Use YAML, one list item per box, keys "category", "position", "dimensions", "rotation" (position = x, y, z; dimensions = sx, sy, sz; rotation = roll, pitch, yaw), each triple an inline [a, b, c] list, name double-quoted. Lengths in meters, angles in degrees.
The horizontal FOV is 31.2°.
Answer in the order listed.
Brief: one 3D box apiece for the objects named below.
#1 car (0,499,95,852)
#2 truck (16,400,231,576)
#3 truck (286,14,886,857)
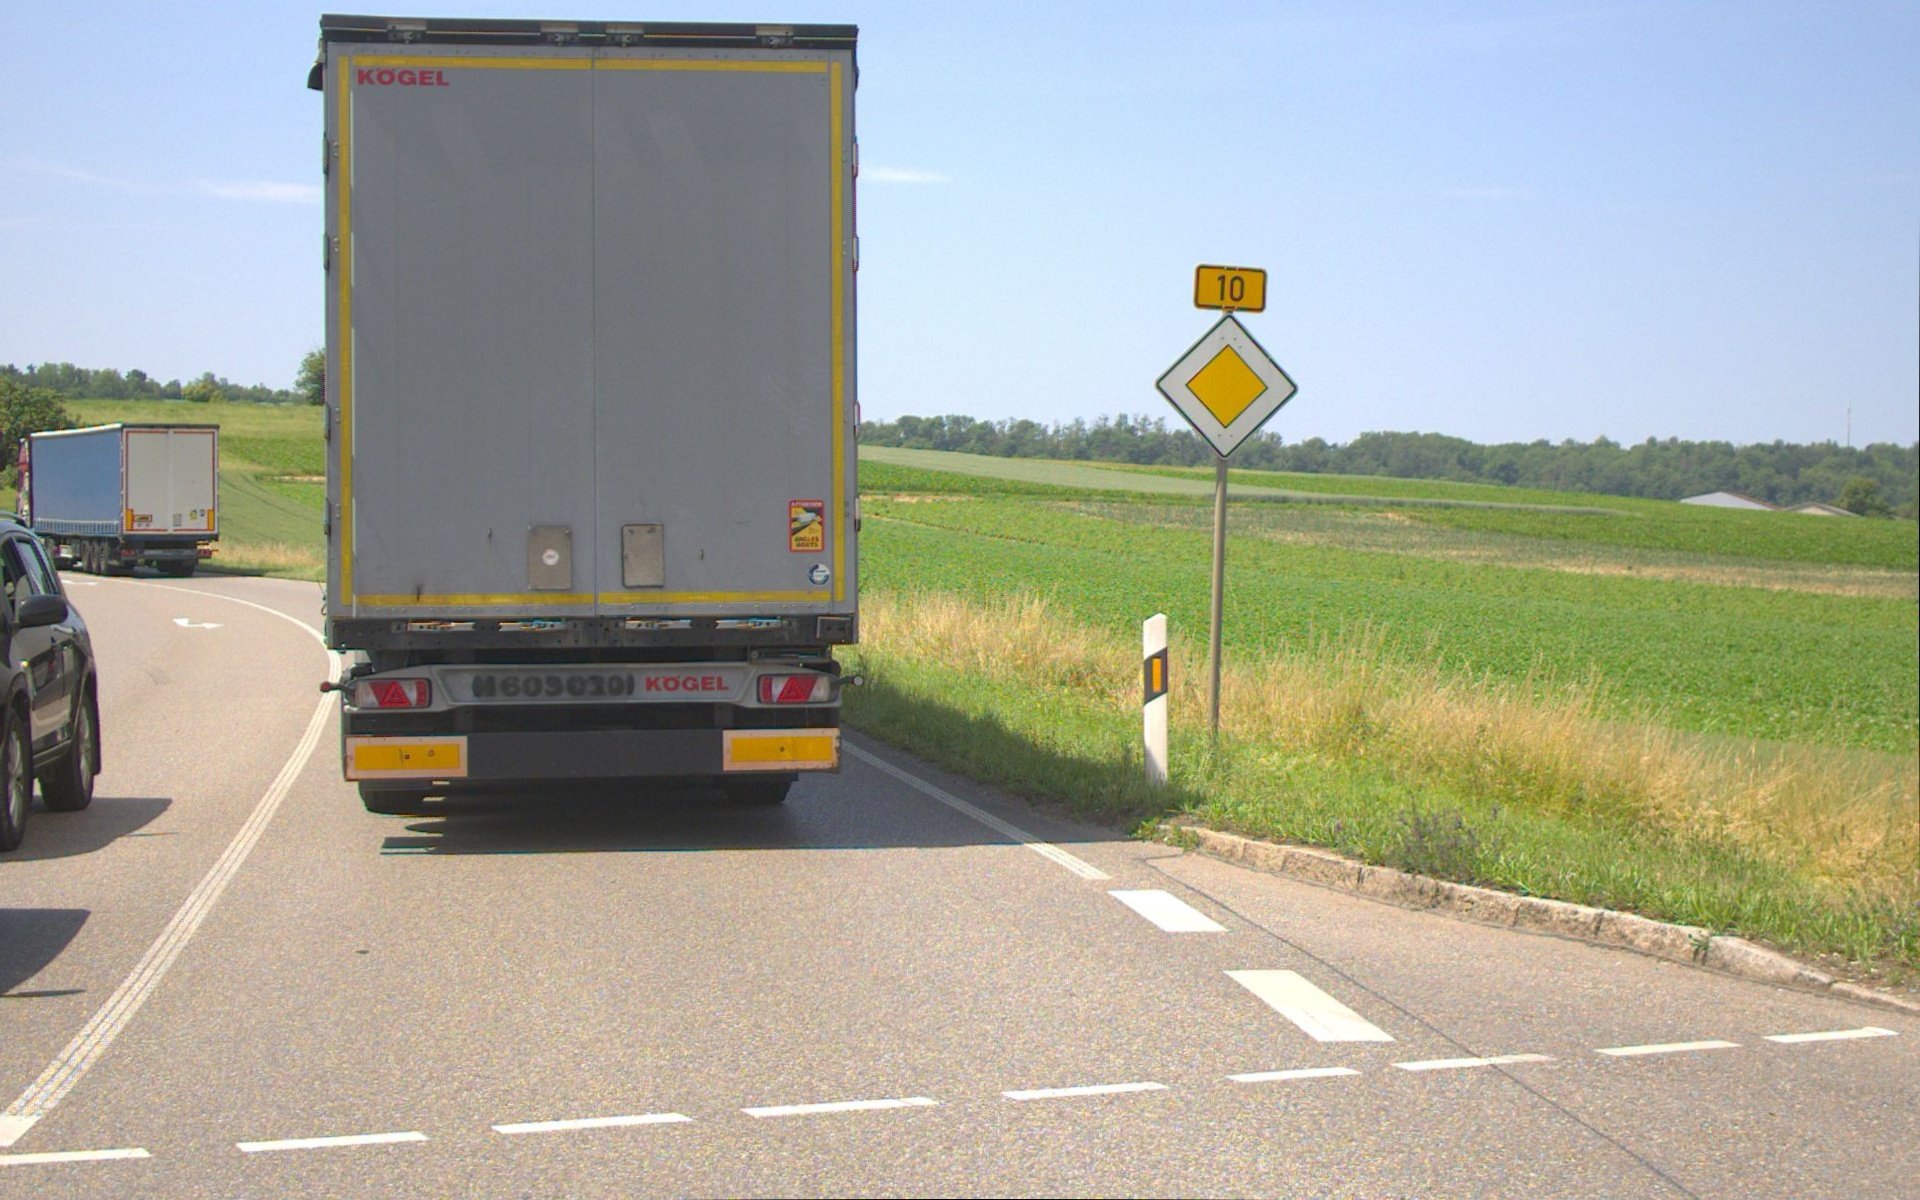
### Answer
- category: "car"
  position: [-5.529, 0.336, 17.320]
  dimensions: [1.770, 1.653, 4.001]
  rotation: [0, 1, -7]
- category: "truck"
  position: [-23.873, -3.112, 97.245]
  dimensions: [2.960, 4.568, 16.320]
  rotation: [0, 1, -24]
- category: "truck"
  position: [-2.347, -0.865, 20.973]
  dimensions: [2.807, 3.932, 9.593]
  rotation: [0, 1, -7]
